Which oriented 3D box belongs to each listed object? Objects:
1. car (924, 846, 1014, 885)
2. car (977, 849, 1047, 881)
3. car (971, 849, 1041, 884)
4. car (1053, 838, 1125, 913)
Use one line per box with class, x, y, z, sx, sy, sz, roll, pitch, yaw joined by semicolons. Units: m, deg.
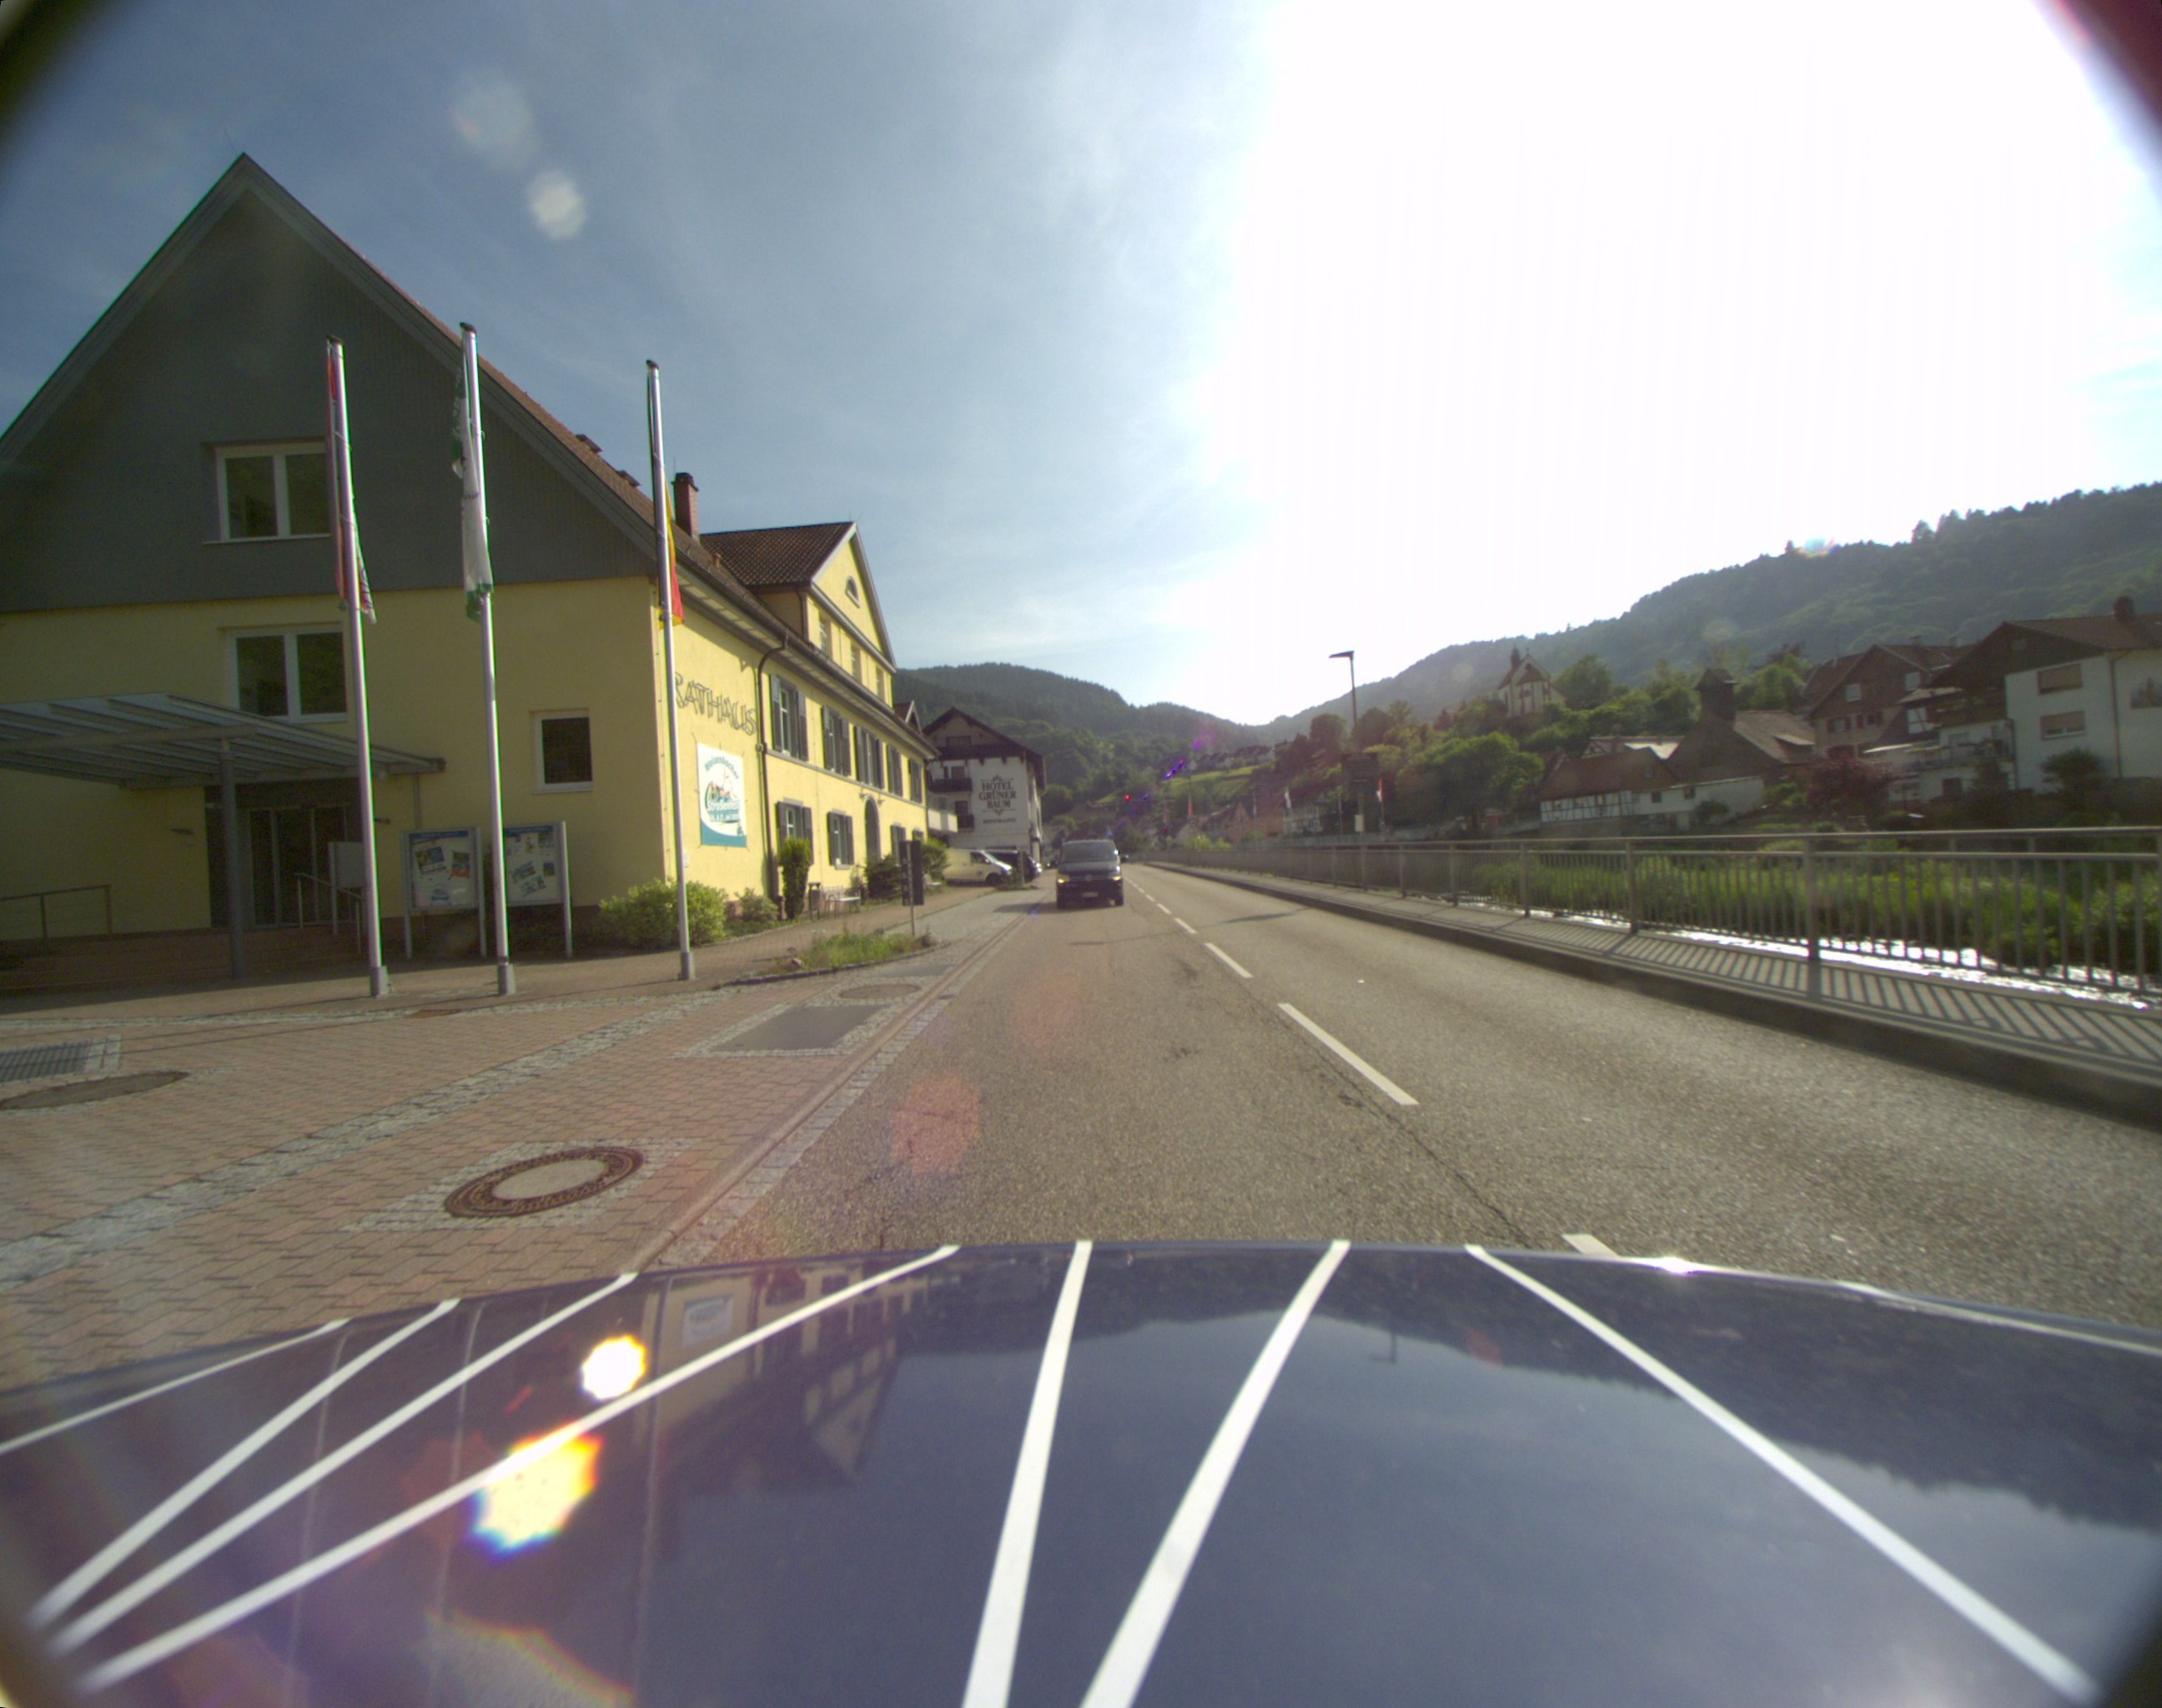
car;-5.947;0.604;40.526;4.453;1.947;1.714;2;0;3
car;-4.124;0.652;45.834;3.996;1.871;1.685;0;0;4
car;-4.246;0.700;43.222;3.755;1.882;1.372;1;1;3
car;0.299;0.581;23.344;1.887;1.952;4.866;-3;0;2
